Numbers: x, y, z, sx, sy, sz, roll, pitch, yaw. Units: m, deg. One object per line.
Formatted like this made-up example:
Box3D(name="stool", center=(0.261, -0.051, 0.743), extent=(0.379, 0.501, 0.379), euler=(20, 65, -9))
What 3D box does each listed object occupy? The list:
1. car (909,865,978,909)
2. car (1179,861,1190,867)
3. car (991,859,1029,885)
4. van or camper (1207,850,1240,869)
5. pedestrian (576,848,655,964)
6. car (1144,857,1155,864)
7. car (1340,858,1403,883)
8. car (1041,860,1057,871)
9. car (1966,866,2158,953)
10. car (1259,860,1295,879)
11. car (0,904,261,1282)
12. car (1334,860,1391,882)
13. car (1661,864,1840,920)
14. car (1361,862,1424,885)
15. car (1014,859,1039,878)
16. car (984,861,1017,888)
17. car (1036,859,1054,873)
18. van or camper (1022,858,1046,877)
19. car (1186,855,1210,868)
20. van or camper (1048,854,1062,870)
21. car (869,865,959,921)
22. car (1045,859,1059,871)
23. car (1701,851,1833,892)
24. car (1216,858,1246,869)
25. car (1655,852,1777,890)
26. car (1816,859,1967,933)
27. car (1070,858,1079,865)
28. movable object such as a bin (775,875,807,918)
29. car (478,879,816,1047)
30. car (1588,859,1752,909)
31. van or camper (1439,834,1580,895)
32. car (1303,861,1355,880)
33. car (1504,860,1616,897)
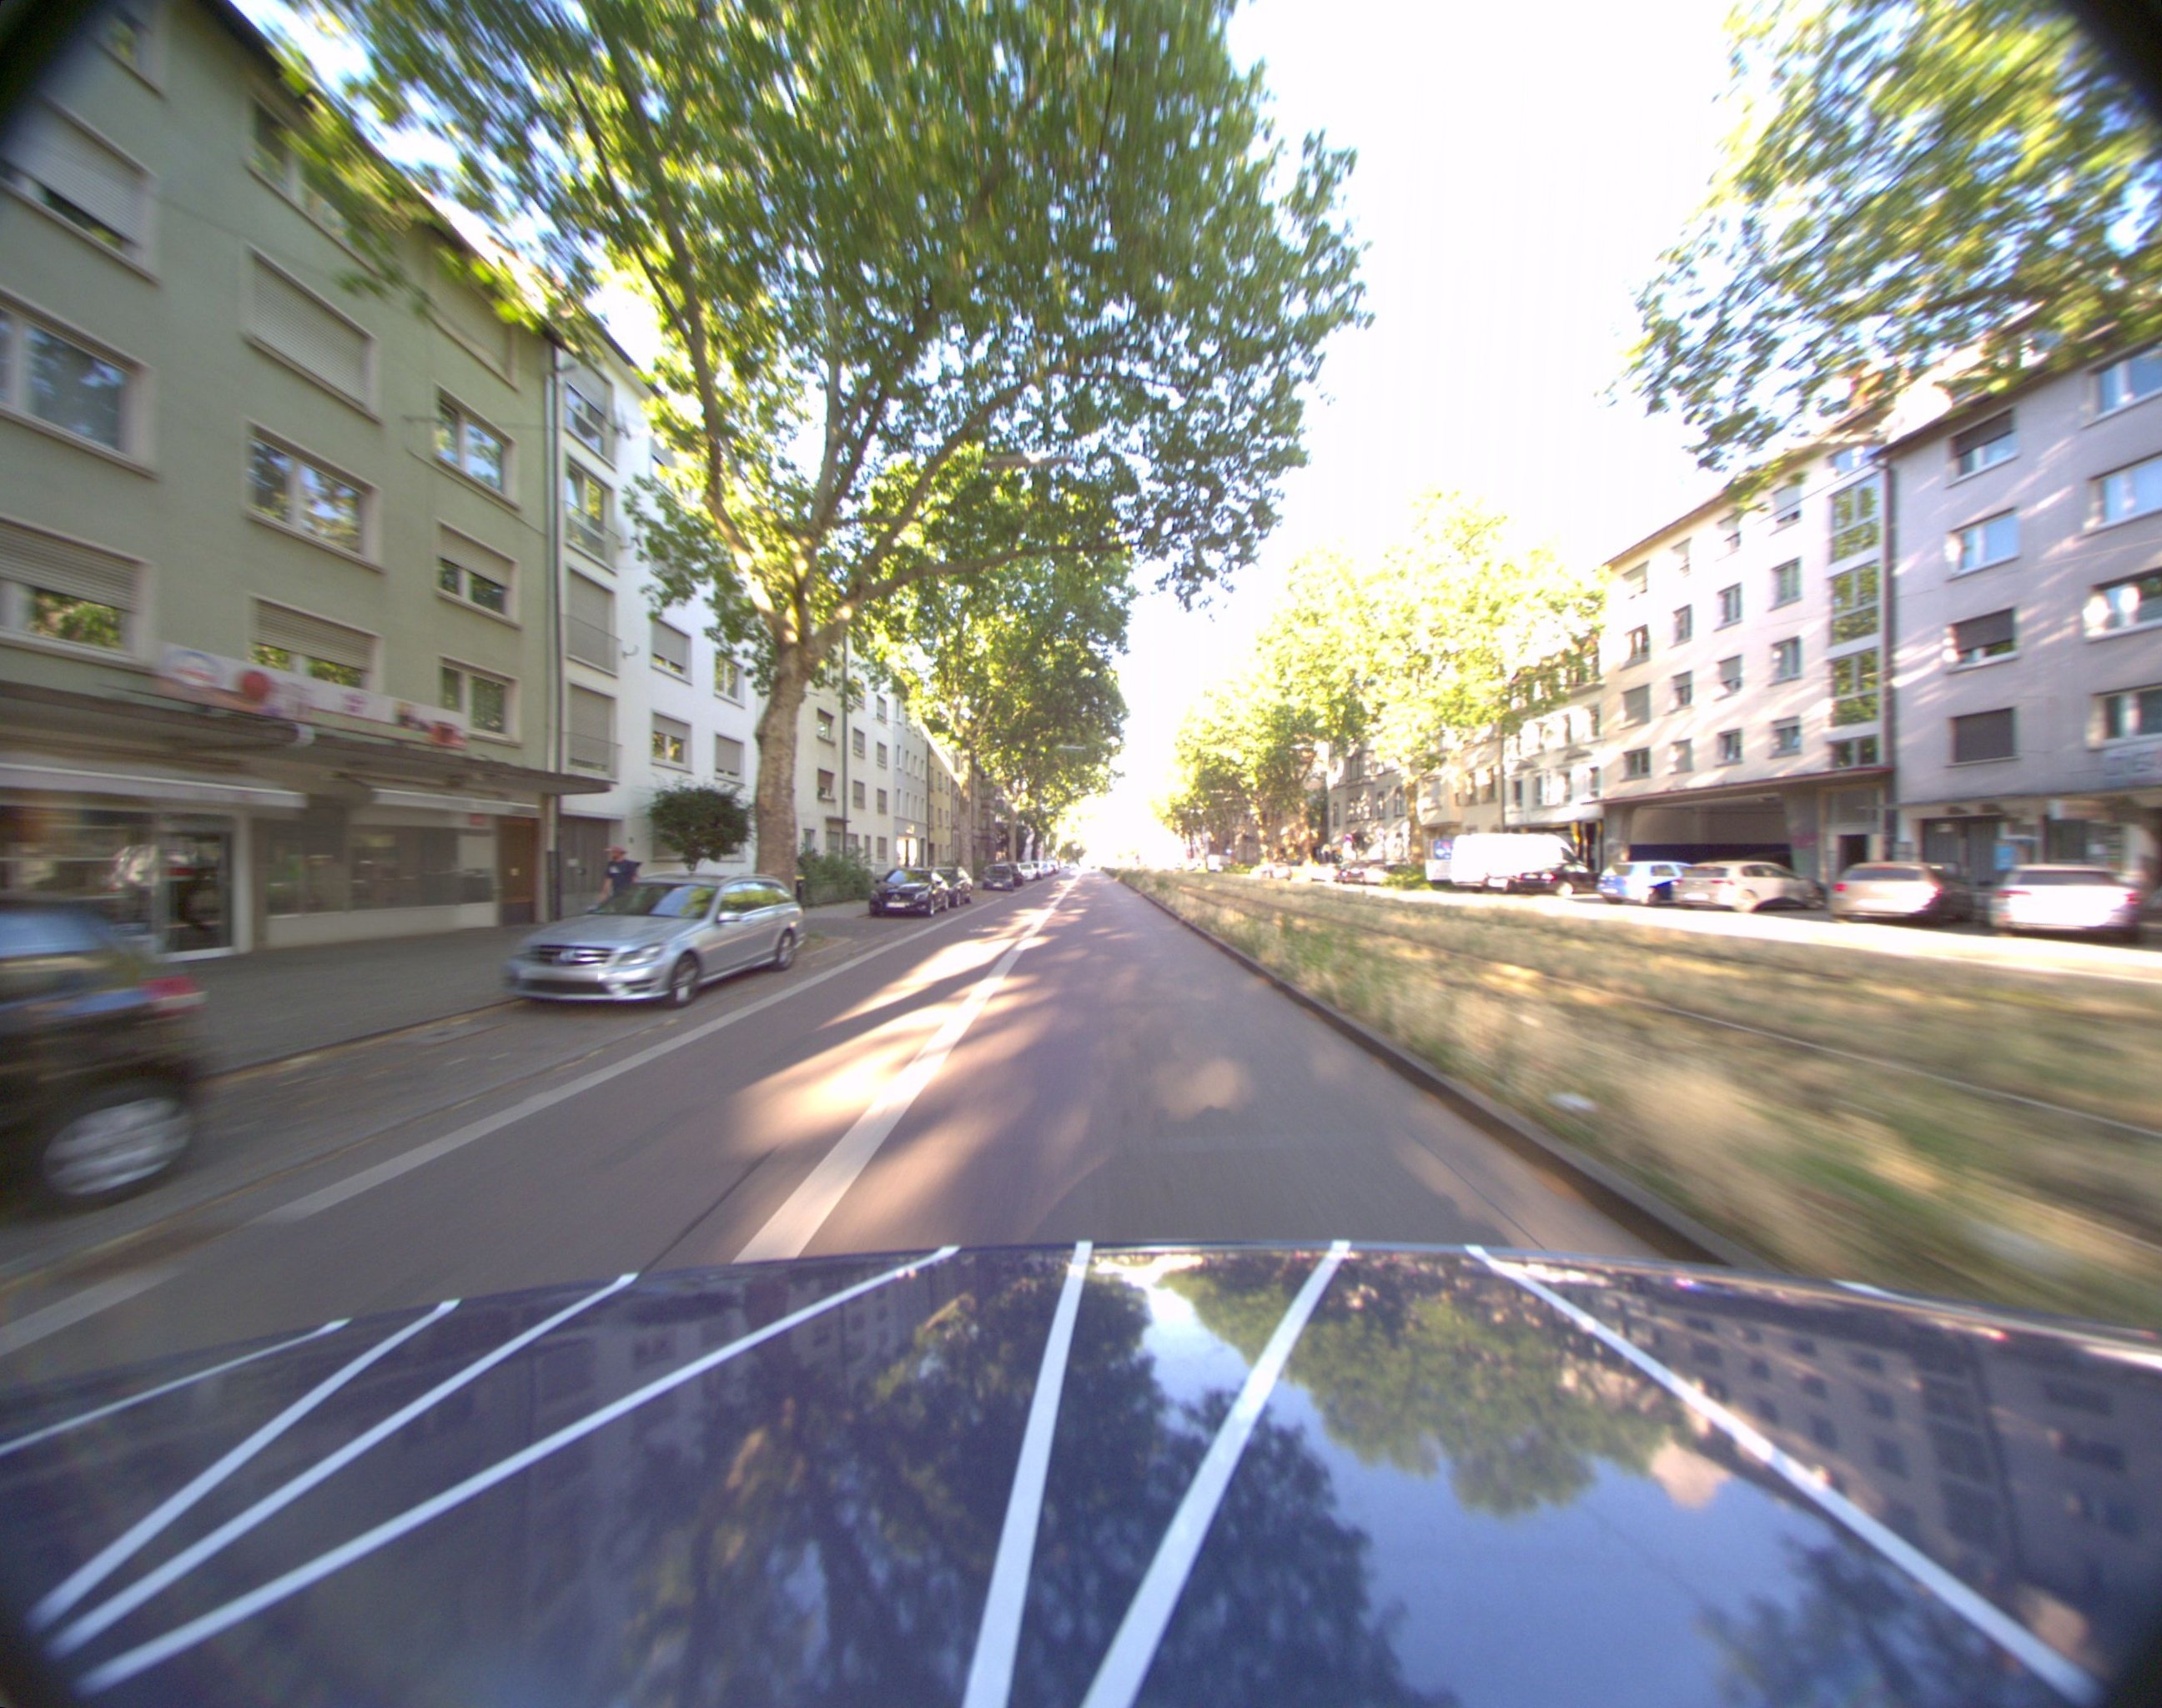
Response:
Box3D(name="car", center=(-4.979, 1.150, 28.085), extent=(1.713, 1.407, 4.364), euler=(2, 0, 0))
Box3D(name="car", center=(24.406, 2.381, 179.360), extent=(1.998, 1.412, 4.001), euler=(-2, 0, 3))
Box3D(name="car", center=(-4.701, 1.165, 50.783), extent=(1.998, 1.557, 4.664), euler=(2, 0, 0))
Box3D(name="van or camper", center=(20.032, 0.752, 106.869), extent=(4.371, 2.386, 2.196), euler=(-4, 1, -39))
Box3D(name="pedestrian", center=(-8.378, 0.902, 13.719), extent=(0.684, 2.002, 1.012), euler=(-3, 1, 0))
Box3D(name="car", center=(14.547, 1.372, 161.551), extent=(1.998, 1.477, 4.000), euler=(-2, 0, 3))
Box3D(name="car", center=(19.426, 1.119, 50.689), extent=(4.169, 1.583, 1.932), euler=(2, -1, -36))
Box3D(name="car", center=(-4.094, 1.459, 97.323), extent=(1.790, 1.458, 3.570), euler=(1, 0, 1))
Box3D(name="car", center=(19.195, 0.997, 15.068), extent=(4.008, 1.377, 1.907), euler=(-2, 0, -44))
Box3D(name="car", center=(16.005, 1.231, 62.259), extent=(1.825, 1.381, 4.484), euler=(2, 0, 0))
Box3D(name="car", center=(-5.412, 1.041, 2.240), extent=(1.658, 1.536, 4.000), euler=(0, 0, 0))
Box3D(name="car", center=(20.054, 1.225, 54.060), extent=(4.008, 1.524, 1.821), euler=(2, -1, -35))
Box3D(name="car", center=(19.504, 1.059, 22.215), extent=(4.001, 1.483, 1.949), euler=(0, 0, -13))
Box3D(name="car", center=(19.428, 1.196, 47.401), extent=(4.014, 1.349, 1.797), euler=(1, -1, -36))
Box3D(name="car", center=(-4.556, 1.225, 63.927), extent=(1.702, 1.517, 4.195), euler=(0, 0, 0))
Box3D(name="car", center=(-4.607, 1.175, 44.004), extent=(1.748, 1.455, 4.024), euler=(0, 0, -4))
Box3D(name="car", center=(-4.128, 1.354, 87.248), extent=(1.790, 1.609, 3.829), euler=(1, 0, 1))
Box3D(name="van or camper", center=(-4.322, 1.233, 70.224), extent=(1.790, 1.710, 4.380), euler=(1, 0, 2))
Box3D(name="car", center=(20.382, 1.254, 131.957), extent=(4.007, 2.002, 1.995), euler=(-3, 0, -41))
Box3D(name="van or camper", center=(-3.748, 1.174, 111.346), extent=(1.790, 2.172, 4.732), euler=(1, 0, 1))
Box3D(name="car", center=(-4.971, 1.114, 23.193), extent=(1.713, 1.407, 4.364), euler=(2, 0, 0))
Box3D(name="car", center=(-3.966, 1.442, 104.614), extent=(1.791, 1.585, 4.013), euler=(1, 0, -1))
Box3D(name="car", center=(29.433, 0.721, 32.690), extent=(3.997, 1.710, 1.906), euler=(0, 0, 0))
Box3D(name="car", center=(20.605, 1.302, 104.334), extent=(4.006, 1.240, 1.726), euler=(-4, 1, -33))
Box3D(name="car", center=(29.448, 0.755, 35.330), extent=(3.997, 1.533, 2.000), euler=(-2, 0, -1))
Box3D(name="car", center=(19.331, 0.931, 18.087), extent=(4.006, 1.414, 1.752), euler=(-3, 0, -33))
Box3D(name="car", center=(-1.644, 1.911, 187.239), extent=(1.893, 1.501, 4.000), euler=(-2, 0, 2))
Box3D(name="movable object such as a bin", center=(-8.027, 1.172, 21.047), extent=(0.617, 1.152, 0.666), euler=(0, 1, -2))
Box3D(name="car", center=(-5.173, 1.171, 9.993), extent=(1.699, 1.533, 4.777), euler=(0, 0, 0))
Box3D(name="car", center=(19.347, 0.960, 25.072), extent=(3.998, 1.412, 1.857), euler=(-2, 0, -3))
Box3D(name="van or camper", center=(19.511, 0.454, 34.592), extent=(5.973, 2.630, 2.175), euler=(0, 0, -20))
Box3D(name="car", center=(19.115, 1.229, 58.579), extent=(3.687, 1.381, 1.822), euler=(0, 0, -30))
Box3D(name="car", center=(20.193, 0.992, 32.068), extent=(4.004, 1.482, 1.997), euler=(0, -1, -21))
